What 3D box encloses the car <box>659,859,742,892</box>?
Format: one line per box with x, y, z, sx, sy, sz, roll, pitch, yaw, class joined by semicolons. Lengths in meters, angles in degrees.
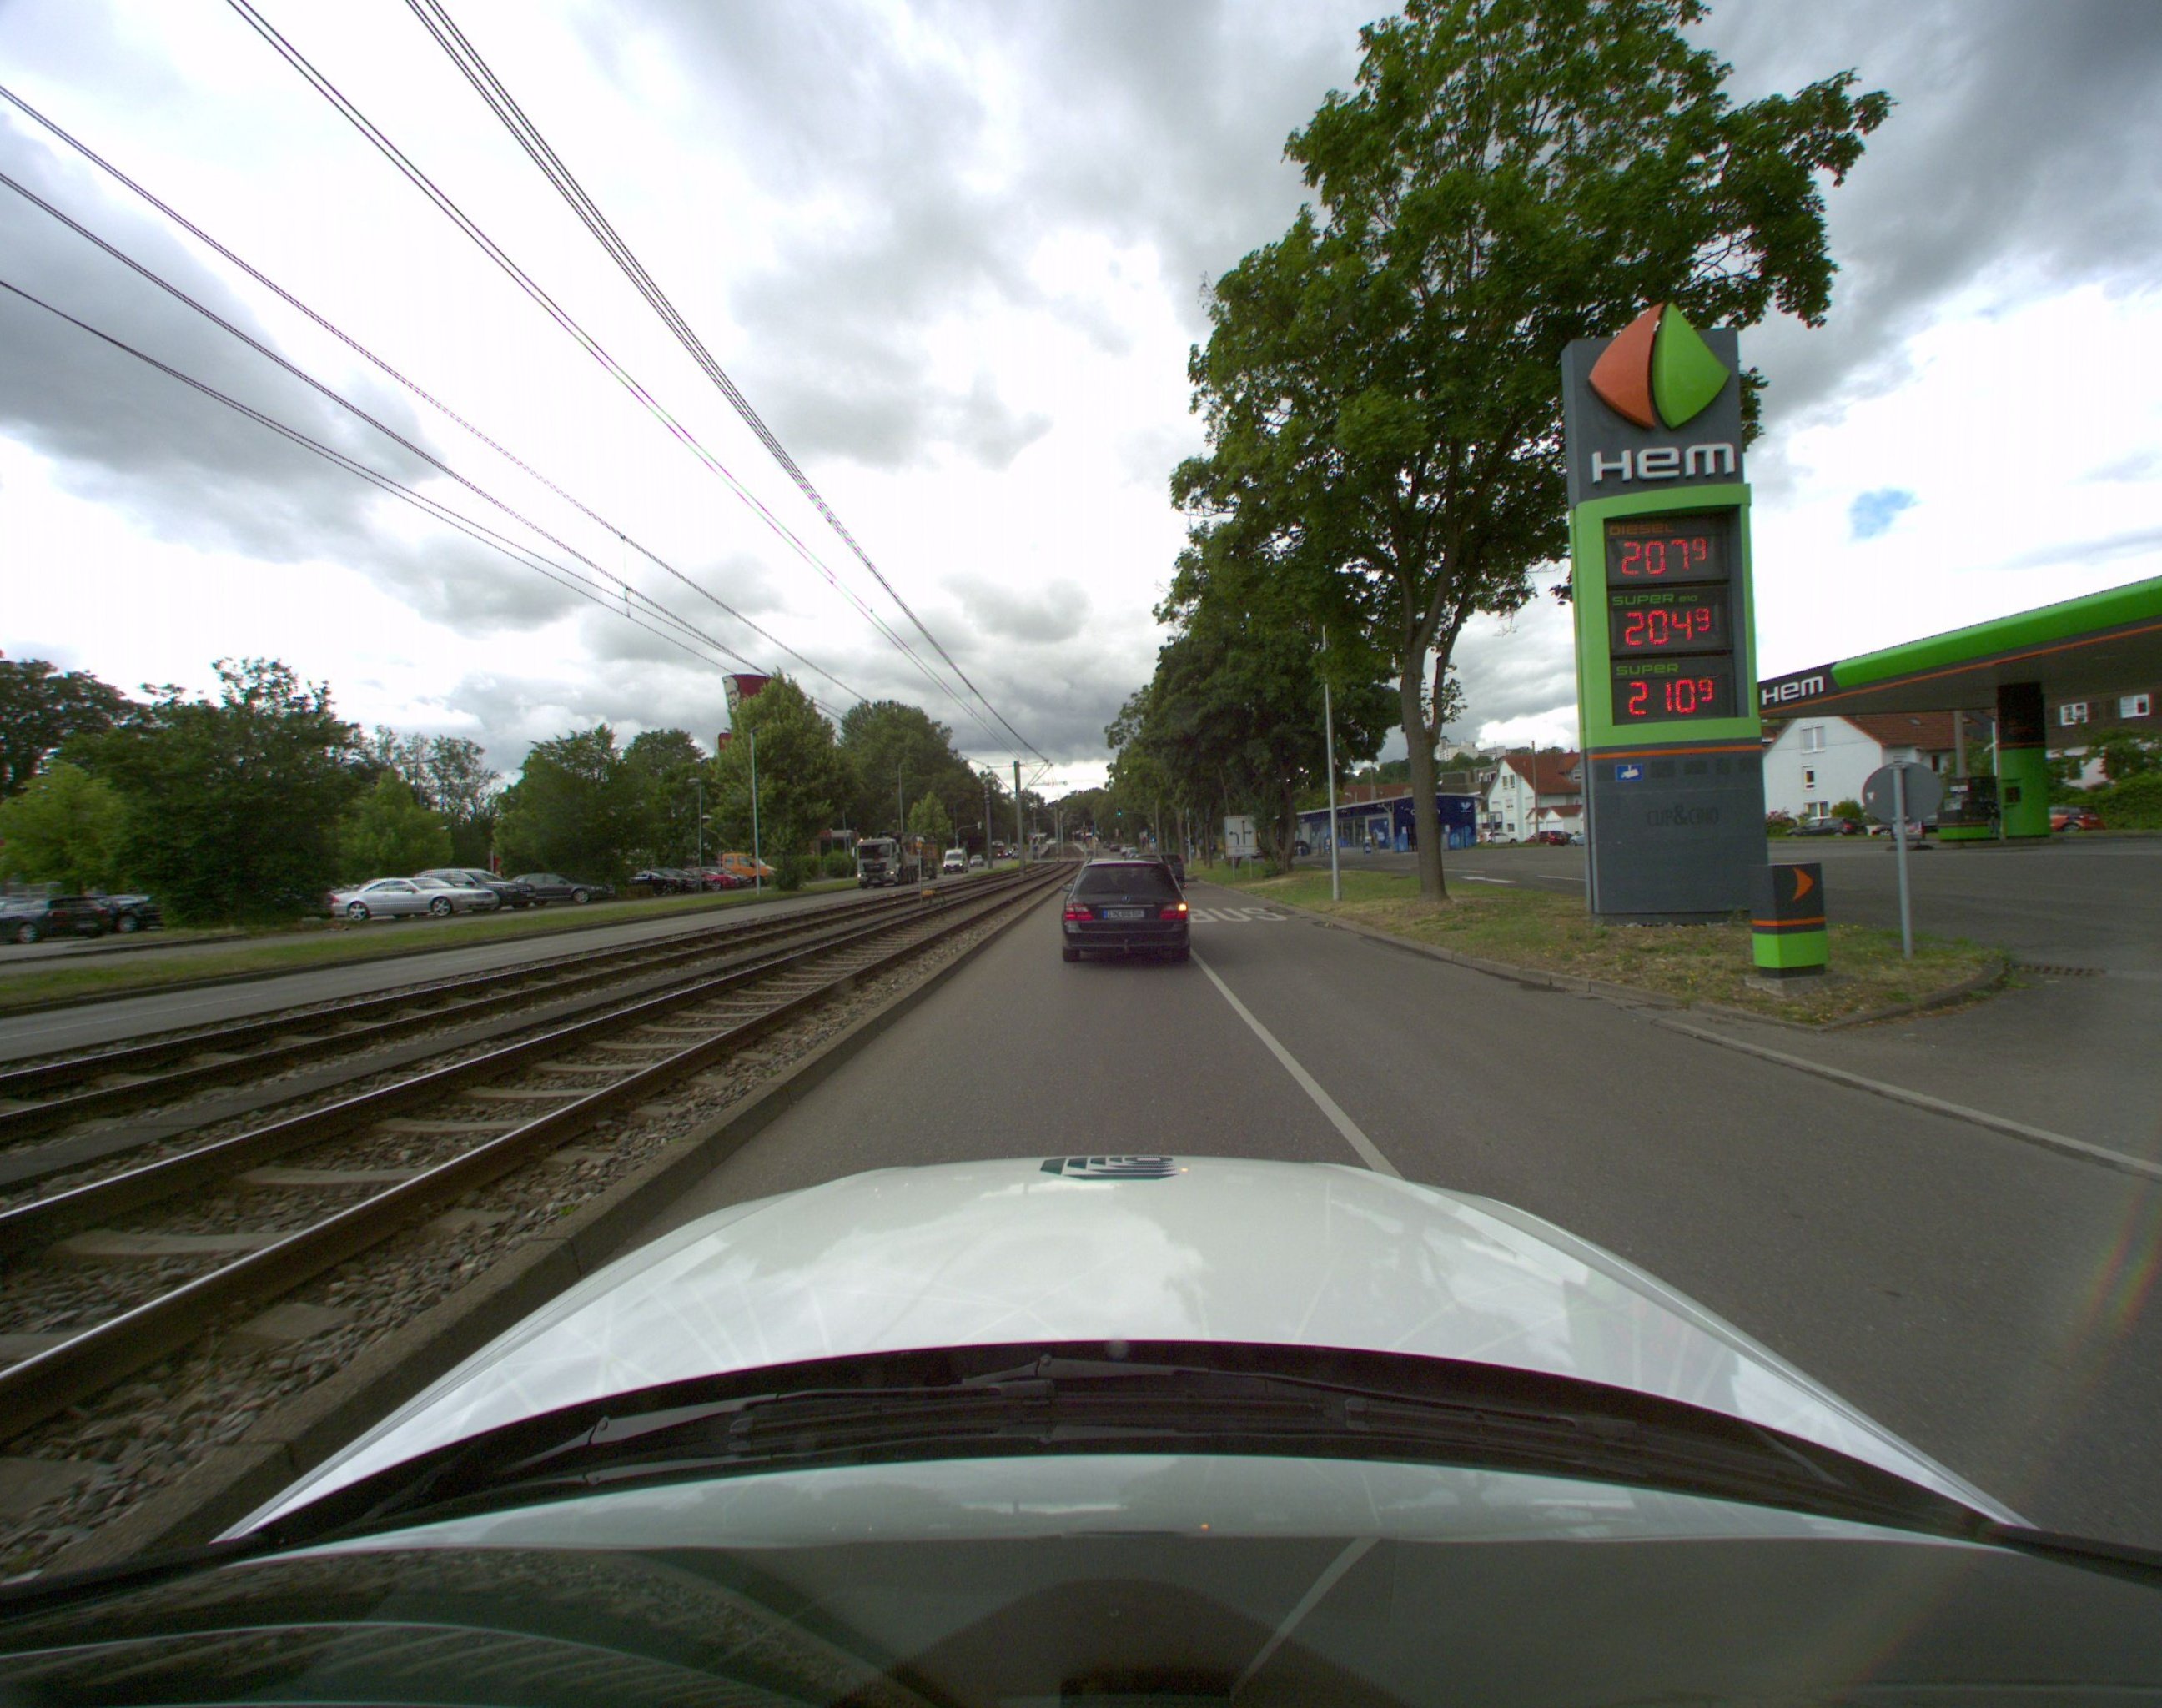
-22.350;1.243;47.983;3.978;1.797;1.876;-1;0;-3;car

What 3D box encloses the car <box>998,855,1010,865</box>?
-14.485;1.113;152.661;1.758;1.647;3.772;-1;0;2;car

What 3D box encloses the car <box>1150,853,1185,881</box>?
4.436;0.652;42.112;1.565;1.414;3.355;0;0;2;car

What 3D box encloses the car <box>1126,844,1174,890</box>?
2.792;0.521;33.501;1.774;1.750;3.719;0;0;2;car

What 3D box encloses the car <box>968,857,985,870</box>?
-14.064;1.253;109.714;1.758;1.647;3.772;-1;0;2;car

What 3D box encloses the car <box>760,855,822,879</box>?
-21.993;0.955;61.897;3.978;1.599;1.794;-3;0;-3;car

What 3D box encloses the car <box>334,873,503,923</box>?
-22.676;1.483;27.984;4.294;1.472;1.680;-2;0;-1;car

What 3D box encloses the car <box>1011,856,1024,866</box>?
-10.816;1.145;139.608;1.758;1.647;3.772;-1;0;2;car

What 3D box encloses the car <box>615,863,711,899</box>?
-21.883;1.387;42.790;3.978;1.599;1.876;-3;0;-3;car

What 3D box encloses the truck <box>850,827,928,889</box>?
-12.792;0.240;55.410;2.698;3.663;11.106;-3;0;-1;truck

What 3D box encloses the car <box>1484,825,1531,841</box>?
46.327;-2.251;88.506;4.203;1.684;1.777;-1;0;-1;car

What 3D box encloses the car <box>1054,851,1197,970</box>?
0.631;0.716;12.335;1.802;1.474;3.882;-1;0;2;car

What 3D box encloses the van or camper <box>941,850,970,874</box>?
-13.121;0.763;85.421;1.987;2.354;5.764;-3;0;0;van or camper

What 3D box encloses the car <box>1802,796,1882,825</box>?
51.251;-2.907;54.932;1.683;1.684;4.002;-3;0;2;car

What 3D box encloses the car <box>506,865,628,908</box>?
-22.427;1.406;35.657;3.978;1.599;1.876;-3;0;-3;car

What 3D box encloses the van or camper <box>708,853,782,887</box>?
-21.892;1.032;53.150;3.978;2.135;1.876;-1;0;-3;van or camper

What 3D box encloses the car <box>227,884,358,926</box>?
-34.057;2.172;35.256;3.940;1.507;1.683;-3;0;0;car

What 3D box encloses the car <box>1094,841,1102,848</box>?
4.445;-2.508;212.487;1.986;1.714;4.002;-3;0;2;car

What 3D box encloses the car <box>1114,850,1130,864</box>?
5.686;0.373;113.300;1.986;1.838;4.001;-1;0;2;car

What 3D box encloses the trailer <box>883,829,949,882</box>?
-12.999;0.085;65.464;2.697;3.660;13.291;-3;0;-1;trailer

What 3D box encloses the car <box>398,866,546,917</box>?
-22.844;1.372;30.676;3.978;1.635;1.876;-3;0;-3;car

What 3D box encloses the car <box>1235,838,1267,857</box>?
16.835;-0.666;80.438;1.987;1.682;4.607;-3;0;26;car

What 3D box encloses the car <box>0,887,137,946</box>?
-33.890;2.045;26.362;4.271;1.684;1.939;-3;0;0;car

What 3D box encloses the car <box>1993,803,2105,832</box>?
47.821;-1.773;40.328;1.416;1.264;3.323;-1;0;-10;car

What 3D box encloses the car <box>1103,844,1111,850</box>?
5.946;-1.611;188.969;1.662;1.532;3.768;-1;0;-2;car
